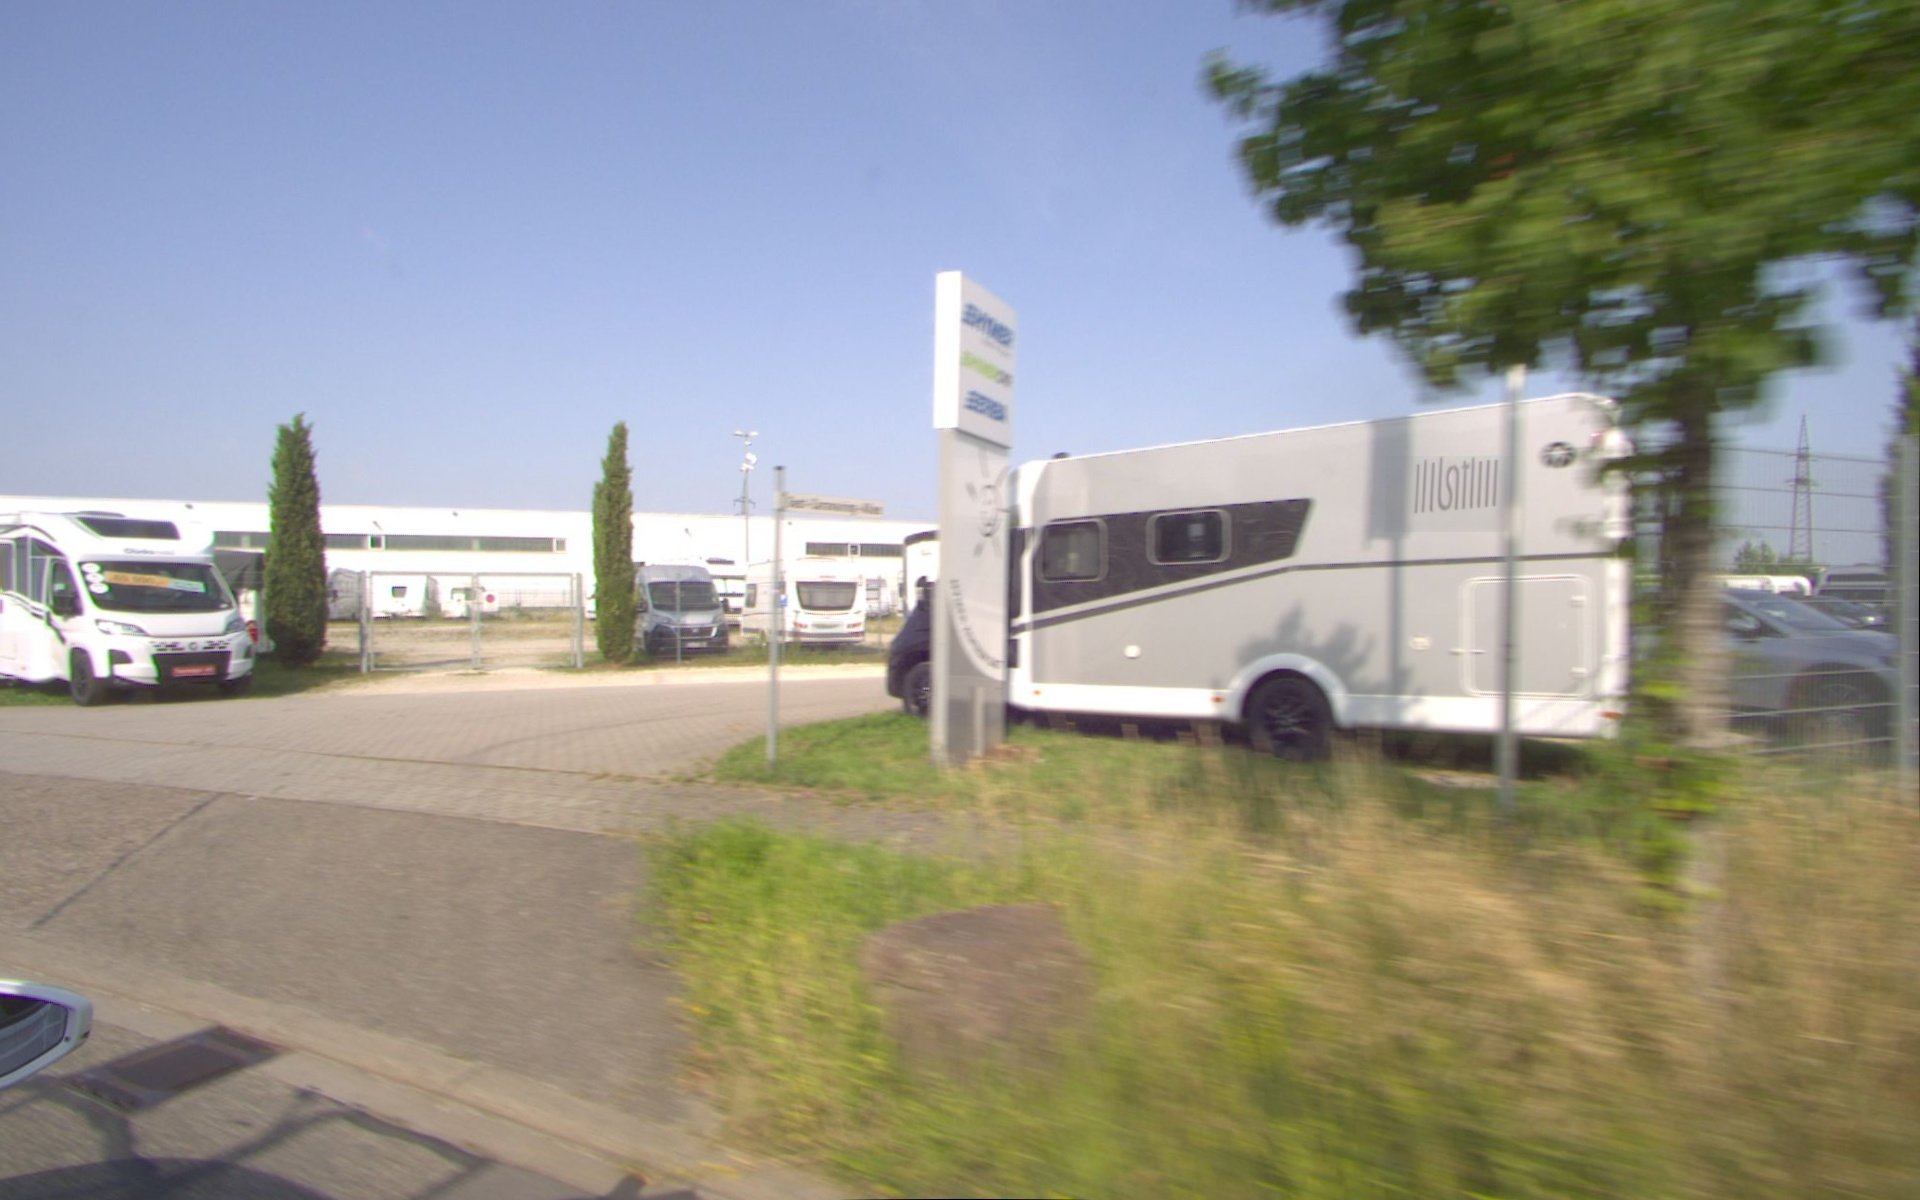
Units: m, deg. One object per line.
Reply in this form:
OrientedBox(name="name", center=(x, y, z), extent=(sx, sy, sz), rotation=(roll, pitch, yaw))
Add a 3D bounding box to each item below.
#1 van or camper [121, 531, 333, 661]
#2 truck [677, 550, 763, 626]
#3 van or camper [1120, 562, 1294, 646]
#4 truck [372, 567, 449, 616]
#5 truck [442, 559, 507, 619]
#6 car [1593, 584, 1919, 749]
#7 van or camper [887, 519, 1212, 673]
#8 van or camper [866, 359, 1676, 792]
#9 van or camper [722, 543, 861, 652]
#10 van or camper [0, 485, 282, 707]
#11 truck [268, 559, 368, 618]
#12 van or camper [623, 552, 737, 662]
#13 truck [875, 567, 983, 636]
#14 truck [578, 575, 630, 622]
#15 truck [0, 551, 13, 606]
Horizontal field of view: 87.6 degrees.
OrientedBox(name="van or camper", center=(-16.834, -0.104, 23.513), extent=(2.450, 2.593, 6.603), rotation=(0, 1, -22))
OrientedBox(name="truck", center=(-10.161, -0.468, 41.800), extent=(2.417, 2.884, 7.977), rotation=(0, 0, -21))
OrientedBox(name="van or camper", center=(8.217, 0.152, 34.228), extent=(2.190, 2.558, 6.585), rotation=(0, 0, -24))
OrientedBox(name="truck", center=(-27.895, -0.413, 51.124), extent=(2.417, 2.295, 7.977), rotation=(0, 0, -21))
OrientedBox(name="truck", center=(-25.154, -0.565, 52.203), extent=(2.417, 2.864, 7.977), rotation=(0, 0, -21))
OrientedBox(name="car", center=(9.852, 0.680, 11.550), extent=(1.702, 1.665, 3.981), rotation=(2, 0, -28))
OrientedBox(name="van or camper", center=(2.127, -0.072, 22.783), extent=(7.175, 3.072, 2.572), rotation=(0, 0, -29))
OrientedBox(name="van or camper", center=(2.544, -0.128, 9.811), extent=(7.247, 2.885, 2.341), rotation=(0, 0, 37))
OrientedBox(name="van or camper", center=(-5.008, -0.061, 28.725), extent=(2.291, 2.742, 6.583), rotation=(0, 0, -25))
OrientedBox(name="van or camper", center=(-13.999, -0.083, 16.171), extent=(6.866, 2.983, 2.327), rotation=(1, 1, 30))
OrientedBox(name="truck", center=(-30.134, -0.517, 47.318), extent=(2.417, 2.504, 7.977), rotation=(0, 0, -21))
OrientedBox(name="van or camper", center=(-7.572, 0.132, 26.642), extent=(1.968, 2.568, 6.126), rotation=(0, 1, -25))
OrientedBox(name="truck", center=(-1.588, 0.060, 46.068), extent=(2.417, 2.884, 7.977), rotation=(0, 0, -21))
OrientedBox(name="truck", center=(-18.930, -0.079, 53.043), extent=(2.417, 2.295, 7.192), rotation=(0, 0, -21))
OrientedBox(name="truck", center=(-43.186, -0.953, 41.801), extent=(2.417, 2.504, 7.977), rotation=(0, 0, -21))
